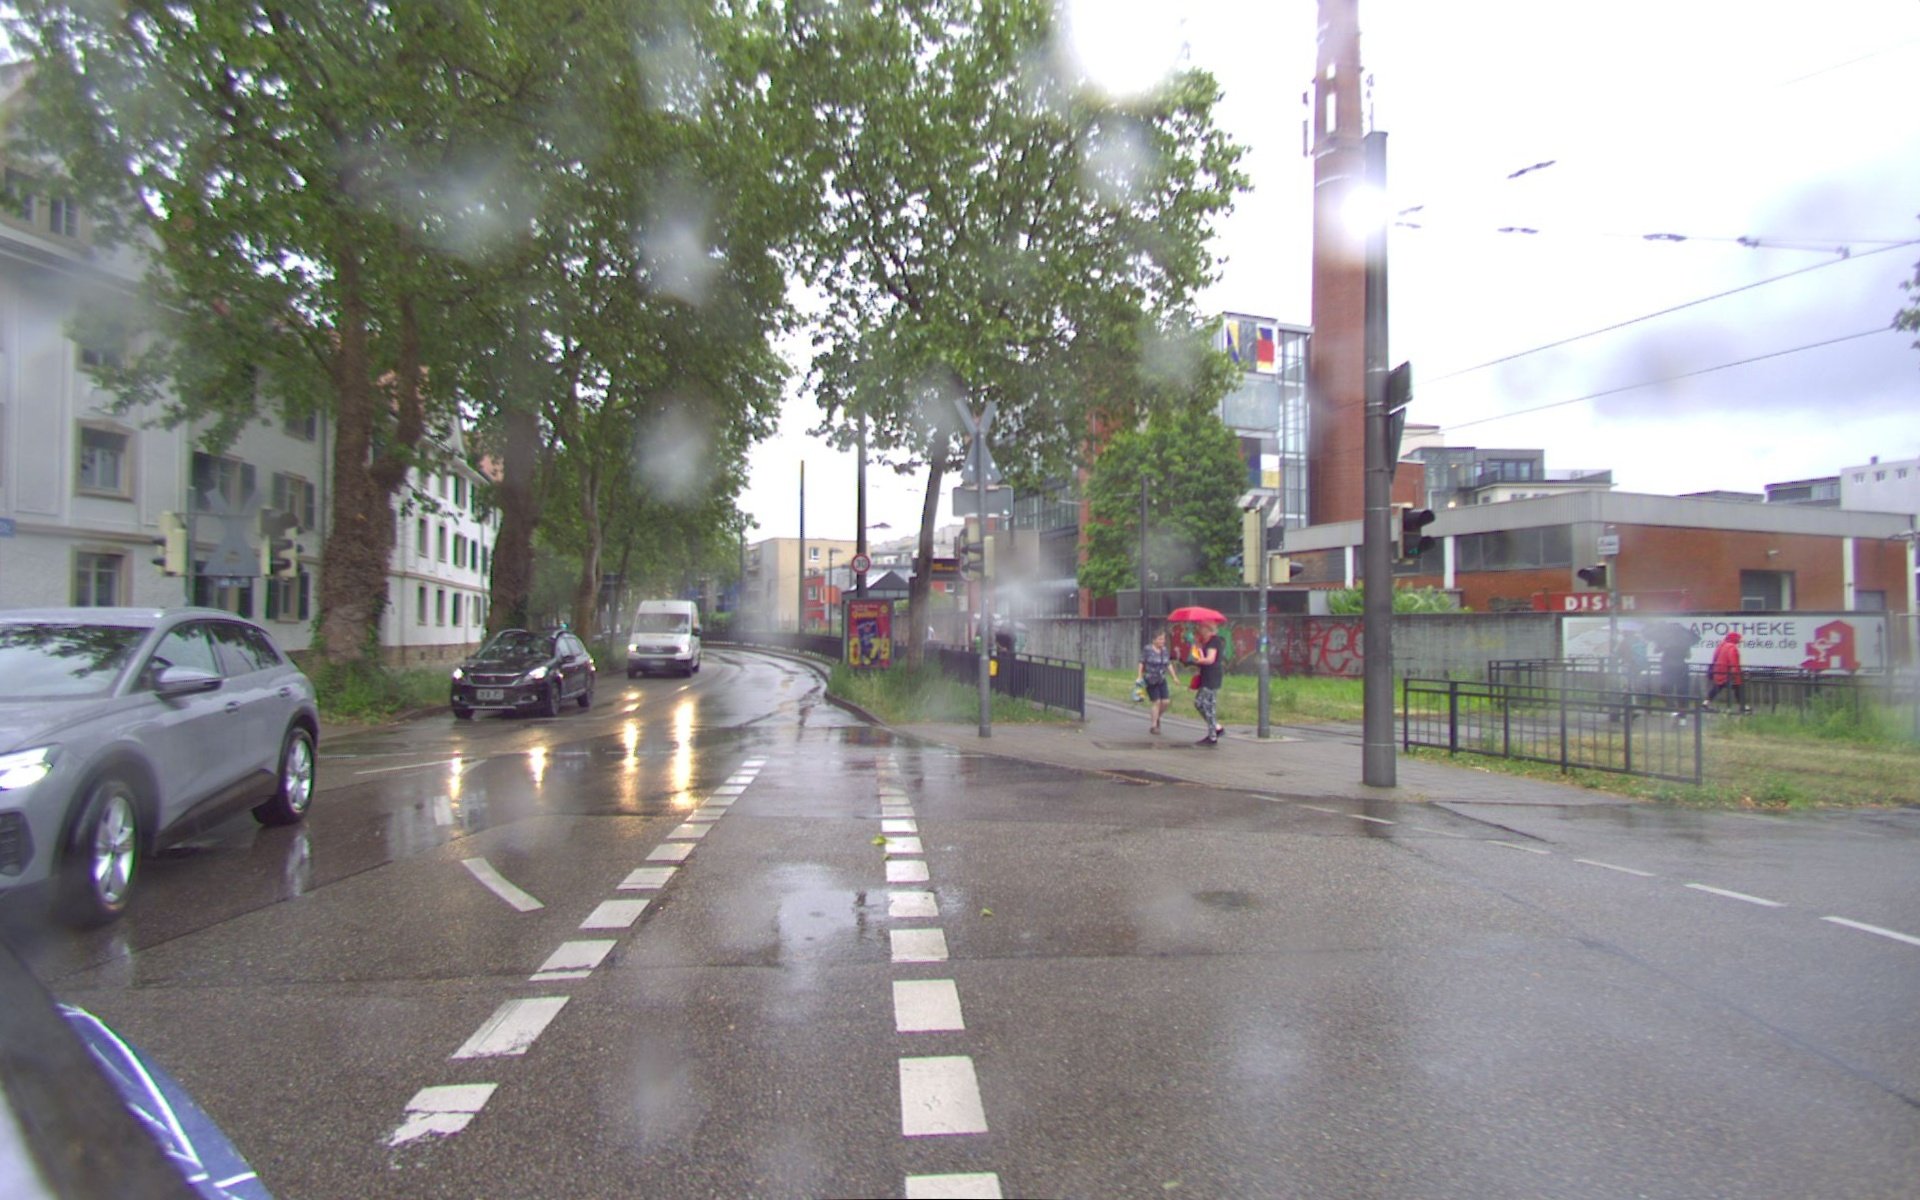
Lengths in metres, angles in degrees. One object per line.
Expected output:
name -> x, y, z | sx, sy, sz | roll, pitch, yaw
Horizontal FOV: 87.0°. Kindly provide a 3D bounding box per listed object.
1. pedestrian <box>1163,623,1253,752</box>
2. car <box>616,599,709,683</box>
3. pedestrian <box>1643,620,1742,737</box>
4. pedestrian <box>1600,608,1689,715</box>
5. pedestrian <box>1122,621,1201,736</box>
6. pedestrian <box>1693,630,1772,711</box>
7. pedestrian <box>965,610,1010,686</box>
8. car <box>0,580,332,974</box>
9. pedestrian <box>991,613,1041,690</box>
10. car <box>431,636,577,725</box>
pedestrian -> 3.395, 1.181, 13.916 | 0.834, 1.701, 0.863 | 0, -3, -18
car -> -10.035, 1.337, 34.665 | 2.248, 2.582, 6.523 | 0, -1, -9
pedestrian -> 12.200, 1.283, 16.888 | 0.834, 1.877, 0.959 | 0, -3, -18
pedestrian -> 12.359, 1.102, 18.290 | 0.834, 1.877, 0.959 | 0, -3, -18
pedestrian -> 3.078, 1.182, 15.540 | 0.845, 1.701, 0.851 | 0, -3, -19
pedestrian -> 14.969, 1.358, 19.623 | 0.834, 1.516, 0.831 | 0, -3, -18
pedestrian -> 0.674, 1.193, 25.023 | 0.845, 1.846, 0.851 | 0, -3, -19
car -> -5.369, 0.824, 5.971 | 1.779, 1.633, 4.149 | 0, -3, -17
pedestrian -> 1.258, 1.162, 22.848 | 0.845, 1.701, 0.851 | 0, -3, -19
car -> -8.331, 1.422, 18.840 | 1.823, 1.455, 4.011 | 0, -3, -14
